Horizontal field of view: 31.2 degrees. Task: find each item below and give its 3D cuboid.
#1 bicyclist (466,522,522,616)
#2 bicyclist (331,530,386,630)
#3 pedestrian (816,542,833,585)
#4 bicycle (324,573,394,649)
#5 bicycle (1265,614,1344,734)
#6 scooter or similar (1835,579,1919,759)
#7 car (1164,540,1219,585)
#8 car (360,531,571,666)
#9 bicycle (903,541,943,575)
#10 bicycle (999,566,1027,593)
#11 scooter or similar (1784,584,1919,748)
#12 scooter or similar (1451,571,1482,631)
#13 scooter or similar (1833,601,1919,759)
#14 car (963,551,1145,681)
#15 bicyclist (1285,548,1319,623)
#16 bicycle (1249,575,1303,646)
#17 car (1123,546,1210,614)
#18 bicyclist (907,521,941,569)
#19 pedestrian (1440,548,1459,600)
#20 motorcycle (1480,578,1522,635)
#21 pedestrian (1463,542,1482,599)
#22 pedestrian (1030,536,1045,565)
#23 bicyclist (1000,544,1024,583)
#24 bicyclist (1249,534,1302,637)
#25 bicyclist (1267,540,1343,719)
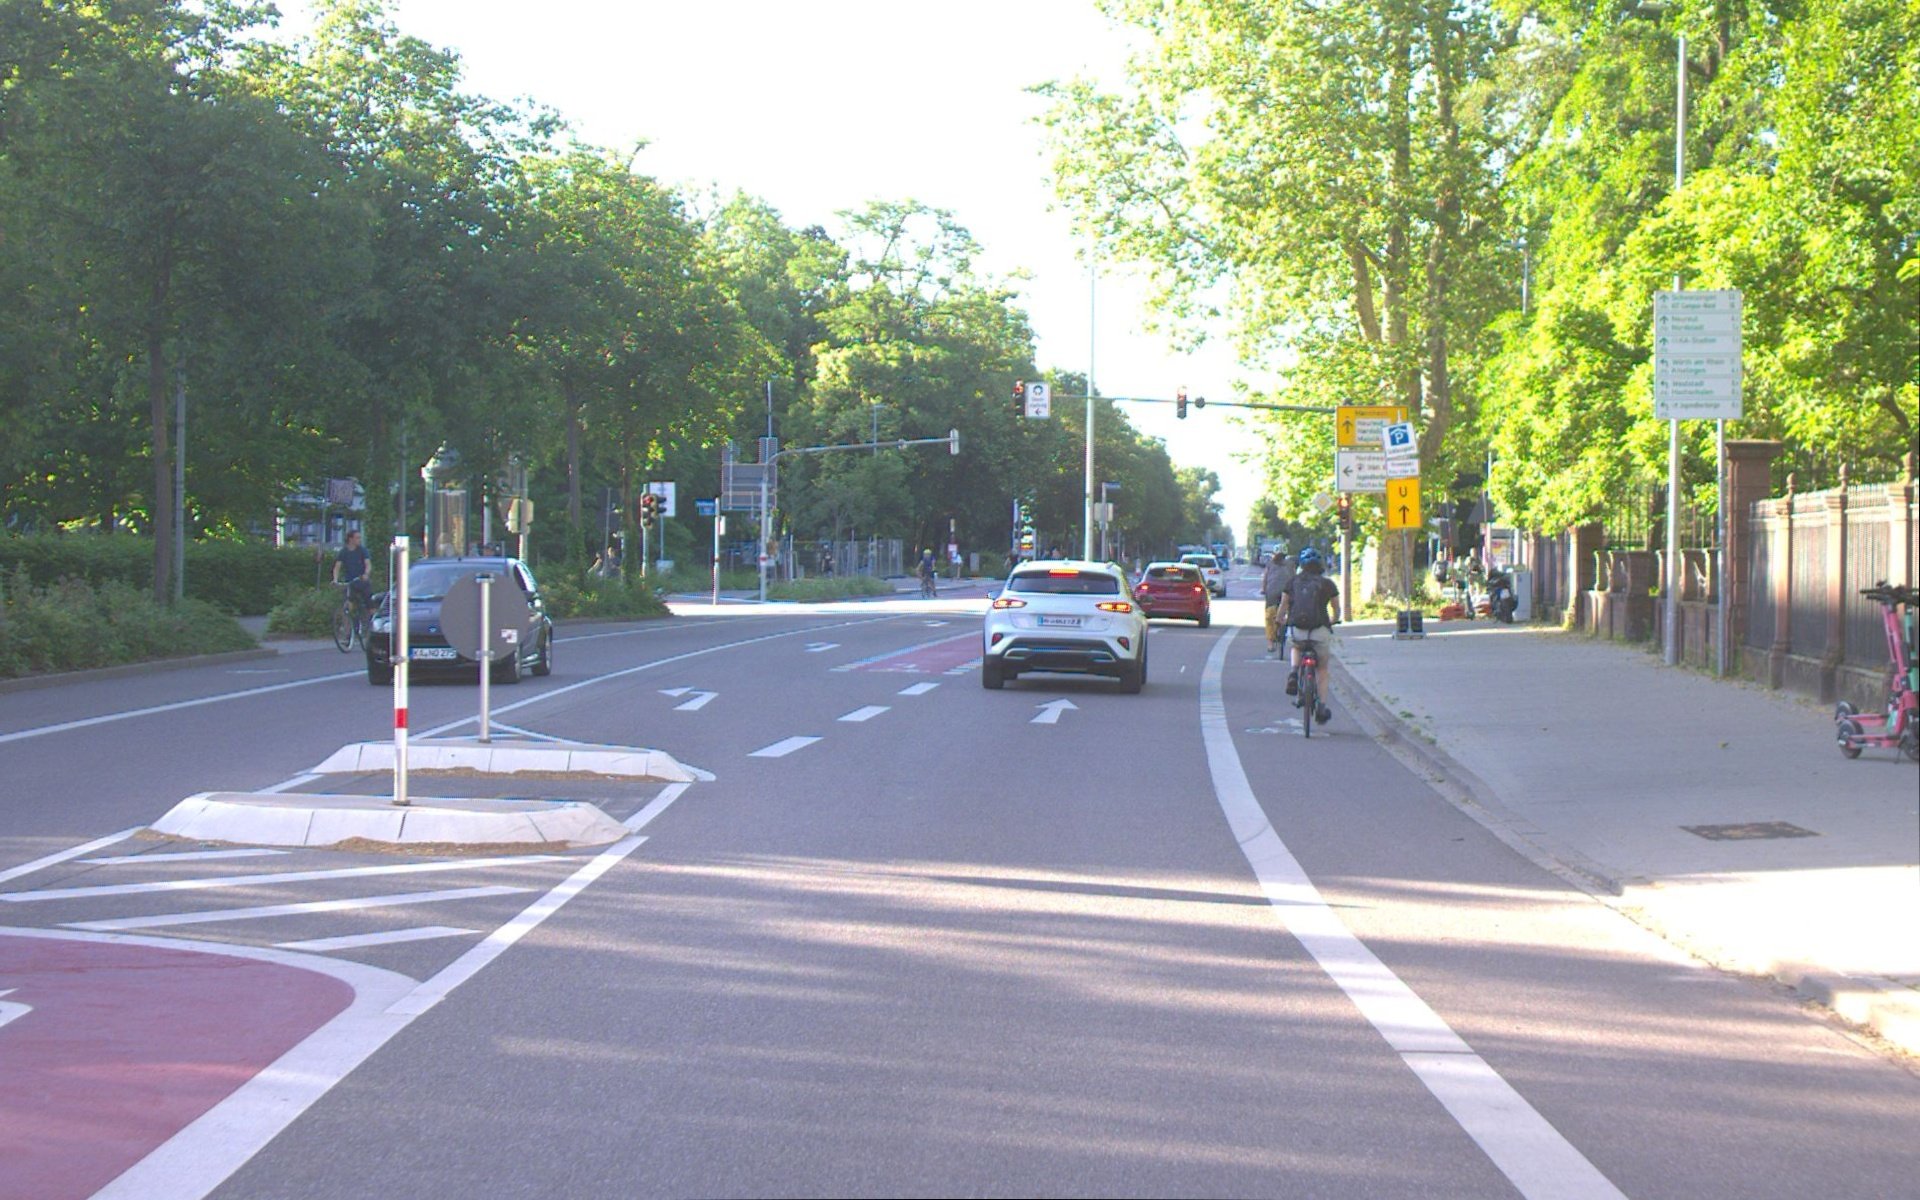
[{"bbox_3d":[-7.241,-0.487,53.460,0.646,1.414,0.971,-3,1,2],"label":"bicyclist"},{"bbox_3d":[-9.266,-0.312,52.988,0.629,1.517,0.724,-3,1,2],"label":"bicyclist"},{"bbox_3d":[-5.887,-1.578,149.415,0.651,1.881,0.662,0,0,7],"label":"pedestrian"},{"bbox_3d":[-9.232,0.158,52.876,0.597,1.117,2.027,-3,1,2],"label":"bicycle"},{"bbox_3d":[3.183,0.664,31.875,0.643,1.021,2.212,2,1,5],"label":"bicycle"},{"bbox_3d":[6.576,0.472,24.256,0.296,1.236,1.161,0,1,-12],"label":"scooter or similar"},{"bbox_3d":[8.187,-1.343,121.355,1.737,1.541,3.999,0,1,7],"label":"car"},{"bbox_3d":[-5.608,-0.041,39.390,1.758,1.454,4.000,0,1,1],"label":"car"},{"bbox_3d":[-1.362,-1.553,126.614,1.102,1.250,2.778,0,1,7],"label":"bicycle"},{"bbox_3d":[2.329,-0.887,150.499,0.964,1.177,2.950,0,1,7],"label":"bicycle"},{"bbox_3d":[7.118,0.502,27.146,0.547,1.238,1.558,0,1,-13],"label":"scooter or similar"},{"bbox_3d":[11.743,0.014,79.753,0.566,1.378,1.856,0,0,3],"label":"scooter or similar"},{"bbox_3d":[6.821,0.573,25.257,0.480,1.118,1.336,0,0,0],"label":"scooter or similar"},{"bbox_3d":[1.159,0.158,40.514,1.994,1.448,4.000,0,1,4],"label":"car"},{"bbox_3d":[8.046,-0.349,80.893,0.750,1.744,0.843,1,0,4],"label":"bicyclist"},{"bbox_3d":[4.766,0.156,51.935,0.753,1.022,1.869,2,0,4],"label":"bicycle"},{"bbox_3d":[4.807,-0.479,79.484,1.929,1.528,3.999,0,1,5],"label":"car"},{"bbox_3d":[-1.325,-2.024,126.848,1.092,1.748,1.097,0,0,7],"label":"bicyclist"},{"bbox_3d":[15.590,-0.831,109.425,0.482,1.634,0.431,-3,3,11],"label":"pedestrian"},{"bbox_3d":[11.471,0.123,72.976,0.662,1.163,2.327,-2,0,5],"label":"motorcycle"},{"bbox_3d":[16.413,-0.946,110.105,0.482,1.786,0.431,-2,3,11],"label":"pedestrian"},{"bbox_3d":[5.719,-3.657,254.321,0.876,2.142,1.102,0,0,14],"label":"pedestrian"},{"bbox_3d":[2.283,-1.616,150.369,0.956,1.699,1.232,0,0,6],"label":"bicyclist"},{"bbox_3d":[4.767,-0.227,51.969,0.747,1.532,0.969,1,0,5],"label":"bicyclist"},{"bbox_3d":[3.176,0.261,31.752,0.636,1.609,1.284,1,1,5],"label":"bicyclist"}]
